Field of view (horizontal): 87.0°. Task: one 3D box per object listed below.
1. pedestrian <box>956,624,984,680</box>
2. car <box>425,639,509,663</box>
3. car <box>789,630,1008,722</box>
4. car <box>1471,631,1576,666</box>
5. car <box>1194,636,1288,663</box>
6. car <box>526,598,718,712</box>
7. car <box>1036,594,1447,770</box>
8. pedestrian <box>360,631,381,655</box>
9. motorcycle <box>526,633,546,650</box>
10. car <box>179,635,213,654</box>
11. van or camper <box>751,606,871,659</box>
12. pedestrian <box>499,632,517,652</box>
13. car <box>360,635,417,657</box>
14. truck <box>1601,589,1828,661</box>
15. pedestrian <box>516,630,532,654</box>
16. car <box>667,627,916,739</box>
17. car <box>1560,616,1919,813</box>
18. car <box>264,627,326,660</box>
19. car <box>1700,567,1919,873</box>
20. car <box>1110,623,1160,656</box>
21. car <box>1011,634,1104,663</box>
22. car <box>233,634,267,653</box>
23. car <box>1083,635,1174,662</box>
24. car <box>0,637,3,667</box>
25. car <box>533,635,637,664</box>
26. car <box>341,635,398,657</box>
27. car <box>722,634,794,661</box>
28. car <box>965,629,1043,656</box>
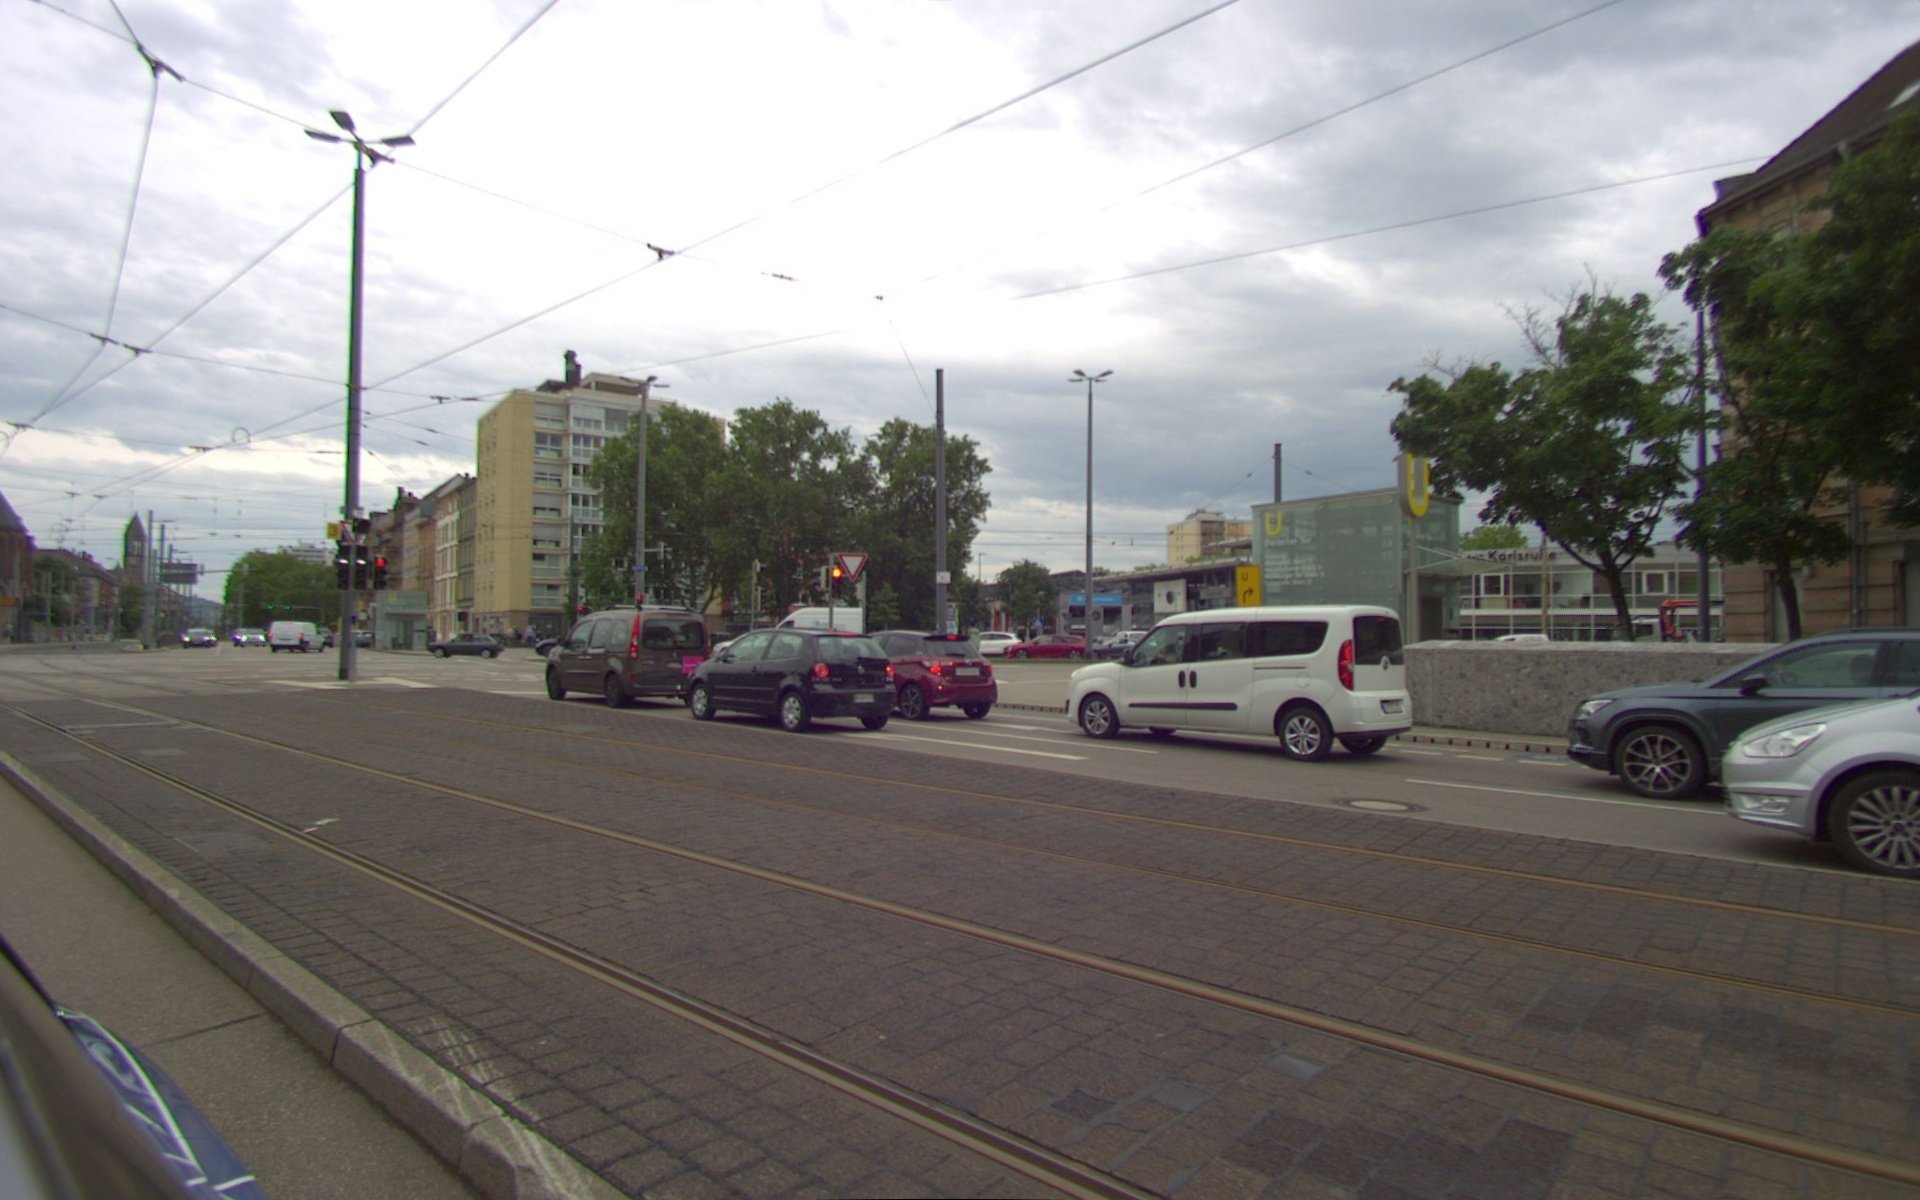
[{"bbox_3d":[0.312,1.646,32.014,0.592,1.741,0.915,1,-3,-23],"label":"pedestrian"},{"bbox_3d":[-26.184,2.706,53.848,3.675,1.256,1.696,1,-2,-13],"label":"car"},{"bbox_3d":[-1.183,1.270,18.005,1.669,1.453,4.002,3,-3,-45],"label":"car"},{"bbox_3d":[30.424,2.596,54.789,4.470,1.853,1.995,0,-2,8],"label":"car"},{"bbox_3d":[15.506,2.743,55.991,4.691,1.431,1.997,0,-2,6],"label":"car"},{"bbox_3d":[-6.493,0.992,19.198,1.669,1.915,4.389,3,-3,-45],"label":"car"},{"bbox_3d":[3.527,0.981,13.599,1.841,1.931,5.105,2,-3,-44],"label":"car"},{"bbox_3d":[-44.626,3.247,76.580,1.162,1.798,1.042,2,-3,-41],"label":"pedestrian"},{"bbox_3d":[-32.650,3.191,77.889,0.850,1.187,2.553,2,-2,-36],"label":"motorcycle"},{"bbox_3d":[-59.950,3.490,79.377,1.968,1.453,4.007,2,-3,-39],"label":"car"},{"bbox_3d":[-7.678,1.680,52.769,5.961,2.631,2.425,1,-1,-4],"label":"van or camper"},{"bbox_3d":[-37.377,3.488,83.744,1.024,1.652,1.334,2,-3,-40],"label":"pedestrian"},{"bbox_3d":[-50.095,4.015,88.845,2.065,1.769,3.975,0,-1,19],"label":"car"},{"bbox_3d":[39.254,1.276,53.006,9.126,3.576,2.793,1,-1,12],"label":"truck"},{"bbox_3d":[-32.607,3.124,75.711,0.915,1.733,0.697,0,-2,41],"label":"pedestrian"},{"bbox_3d":[-2.614,1.138,15.120,1.669,1.453,4.002,3,-3,-45],"label":"car"},{"bbox_3d":[7.975,0.968,8.905,1.841,1.546,4.305,5,-5,-44],"label":"car"},{"bbox_3d":[-41.766,2.682,63.695,1.890,1.896,5.104,2,-1,-17],"label":"car"},{"bbox_3d":[7.095,0.684,5.384,4.908,1.719,1.843,-2,-4,43],"label":"car"},{"bbox_3d":[11.421,2.560,66.328,2.089,2.029,4.786,1,-1,-4],"label":"car"},{"bbox_3d":[5.047,2.530,52.972,4.738,1.431,1.998,0,-2,3],"label":"car"},{"bbox_3d":[-57.528,3.522,81.980,1.968,1.453,4.007,2,-3,-39],"label":"car"},{"bbox_3d":[9.288,2.651,55.966,4.738,1.431,1.998,0,-2,3],"label":"car"},{"bbox_3d":[-50.832,2.627,50.718,2.000,1.505,4.001,-7,-7,42],"label":"car"},{"bbox_3d":[-18.975,2.505,51.412,4.591,1.431,2.002,0,-2,-4],"label":"car"},{"bbox_3d":[-52.640,4.079,90.328,2.065,1.769,3.975,0,-1,19],"label":"car"},{"bbox_3d":[-10.986,2.575,55.245,3.681,1.431,1.642,0,-2,-4],"label":"car"},{"bbox_3d":[2.418,2.358,56.007,4.209,1.431,1.641,0,-2,-1],"label":"car"}]
